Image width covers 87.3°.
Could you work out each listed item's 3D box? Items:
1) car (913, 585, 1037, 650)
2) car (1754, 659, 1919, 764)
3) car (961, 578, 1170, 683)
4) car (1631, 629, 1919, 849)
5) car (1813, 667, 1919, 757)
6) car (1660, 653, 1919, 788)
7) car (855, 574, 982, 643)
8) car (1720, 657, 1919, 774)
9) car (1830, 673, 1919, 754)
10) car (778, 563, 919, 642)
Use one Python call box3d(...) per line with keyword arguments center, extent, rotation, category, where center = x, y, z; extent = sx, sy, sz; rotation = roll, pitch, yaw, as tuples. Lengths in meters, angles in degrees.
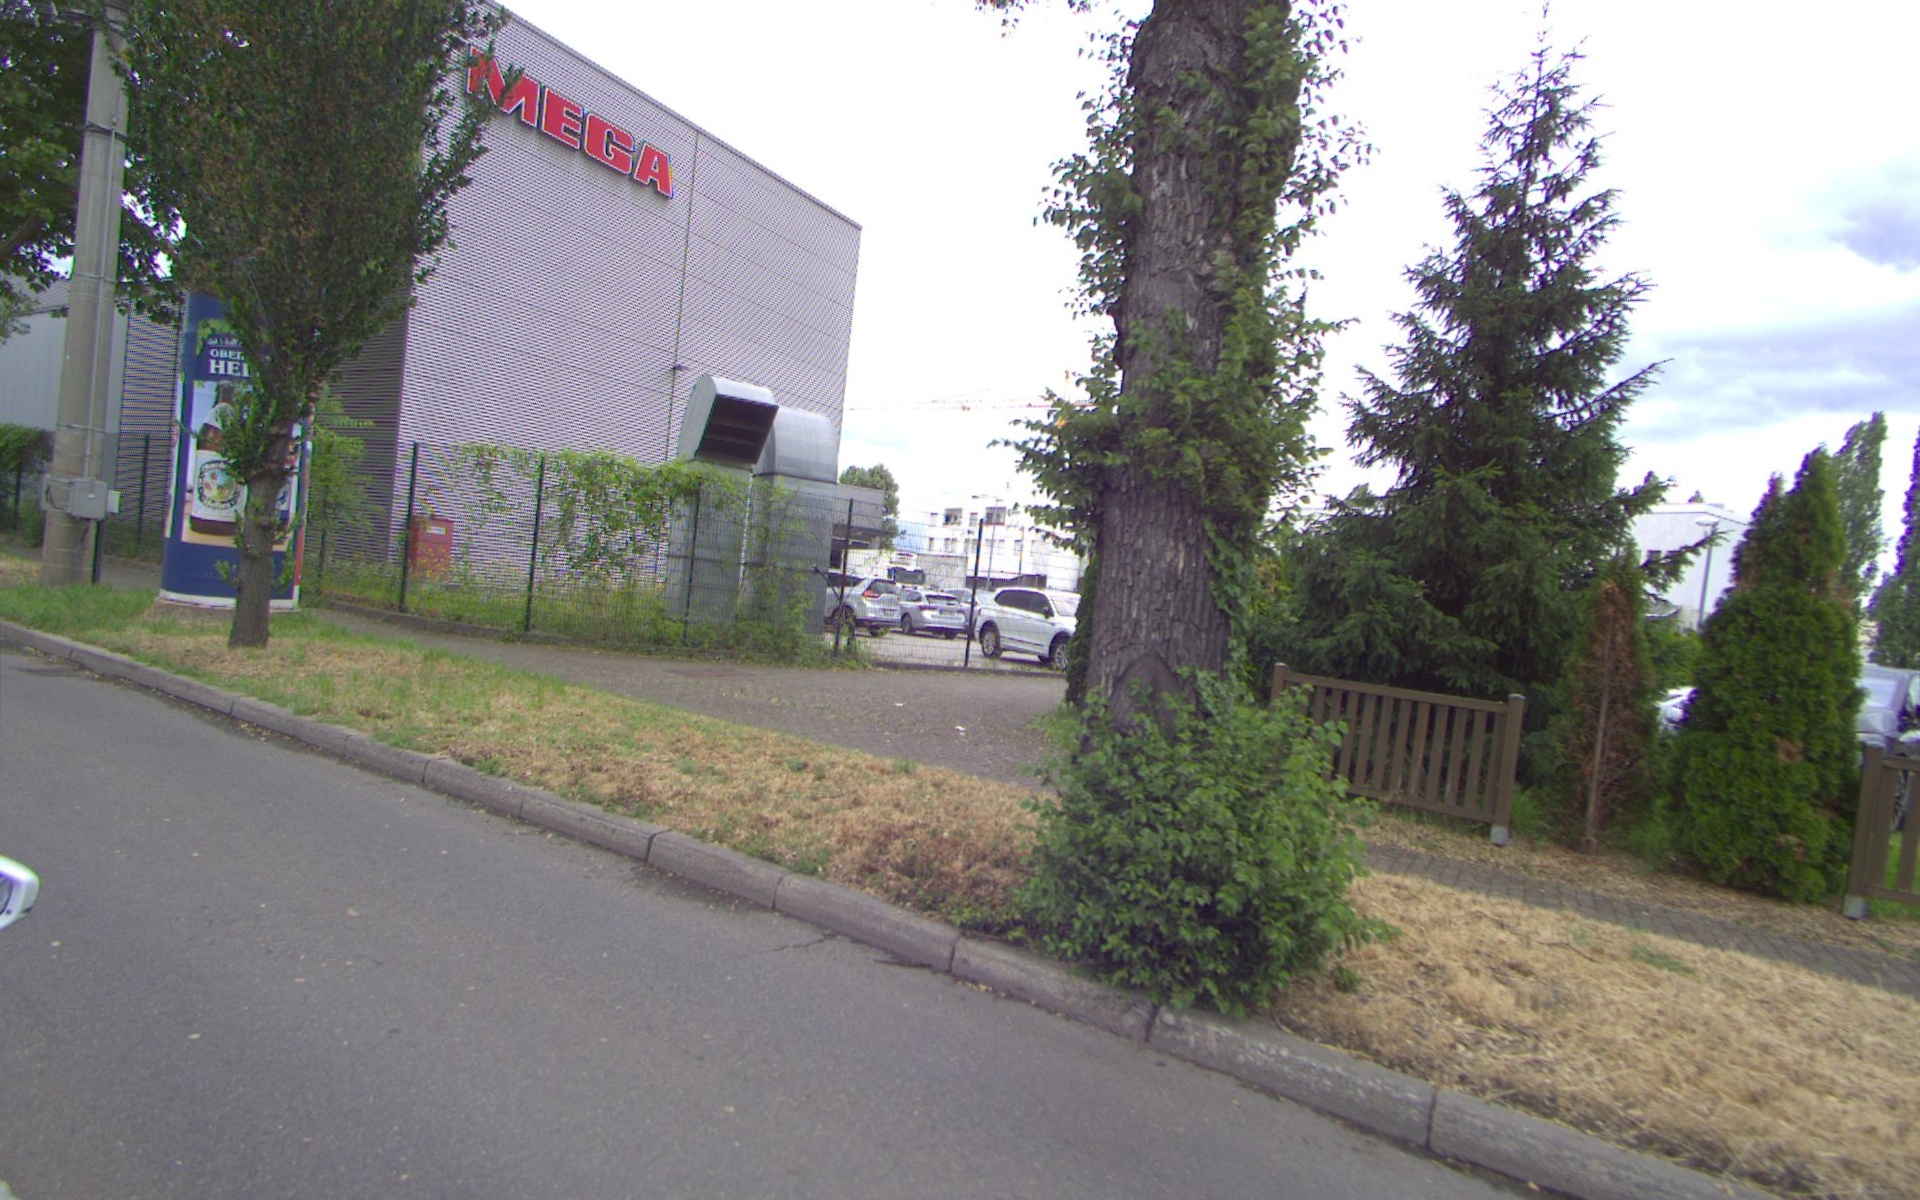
box3d(center=(0.415, 0.558, 34.425), extent=(1.979, 1.696, 4.599), rotation=(6, 1, -31), category="car")
box3d(center=(20.157, 2.491, 22.068), extent=(3.935, 1.861, 1.994), rotation=(7, 1, 34), category="car")
box3d(center=(2.129, 0.590, 21.721), extent=(1.979, 1.696, 4.599), rotation=(6, 1, -31), category="car")
box3d(center=(9.276, 1.432, 10.866), extent=(4.339, 1.727, 1.979), rotation=(7, 1, -38), category="car")
box3d(center=(23.132, 2.802, 23.917), extent=(3.935, 1.861, 1.994), rotation=(7, 1, 34), category="car")
box3d(center=(15.739, 2.193, 18.962), extent=(3.935, 1.861, 1.994), rotation=(7, 1, 34), category="car")
box3d(center=(-1.435, 0.229, 32.402), extent=(1.979, 1.696, 4.599), rotation=(6, 1, -31), category="car")
box3d(center=(18.123, 2.357, 20.460), extent=(3.935, 1.861, 1.994), rotation=(7, 1, 34), category="car")
box3d(center=(25.238, 3.081, 25.847), extent=(3.935, 1.861, 1.994), rotation=(7, 1, 34), category="car")
box3d(center=(-3.175, 0.012, 27.592), extent=(1.979, 1.696, 4.599), rotation=(6, 1, -31), category="car")
